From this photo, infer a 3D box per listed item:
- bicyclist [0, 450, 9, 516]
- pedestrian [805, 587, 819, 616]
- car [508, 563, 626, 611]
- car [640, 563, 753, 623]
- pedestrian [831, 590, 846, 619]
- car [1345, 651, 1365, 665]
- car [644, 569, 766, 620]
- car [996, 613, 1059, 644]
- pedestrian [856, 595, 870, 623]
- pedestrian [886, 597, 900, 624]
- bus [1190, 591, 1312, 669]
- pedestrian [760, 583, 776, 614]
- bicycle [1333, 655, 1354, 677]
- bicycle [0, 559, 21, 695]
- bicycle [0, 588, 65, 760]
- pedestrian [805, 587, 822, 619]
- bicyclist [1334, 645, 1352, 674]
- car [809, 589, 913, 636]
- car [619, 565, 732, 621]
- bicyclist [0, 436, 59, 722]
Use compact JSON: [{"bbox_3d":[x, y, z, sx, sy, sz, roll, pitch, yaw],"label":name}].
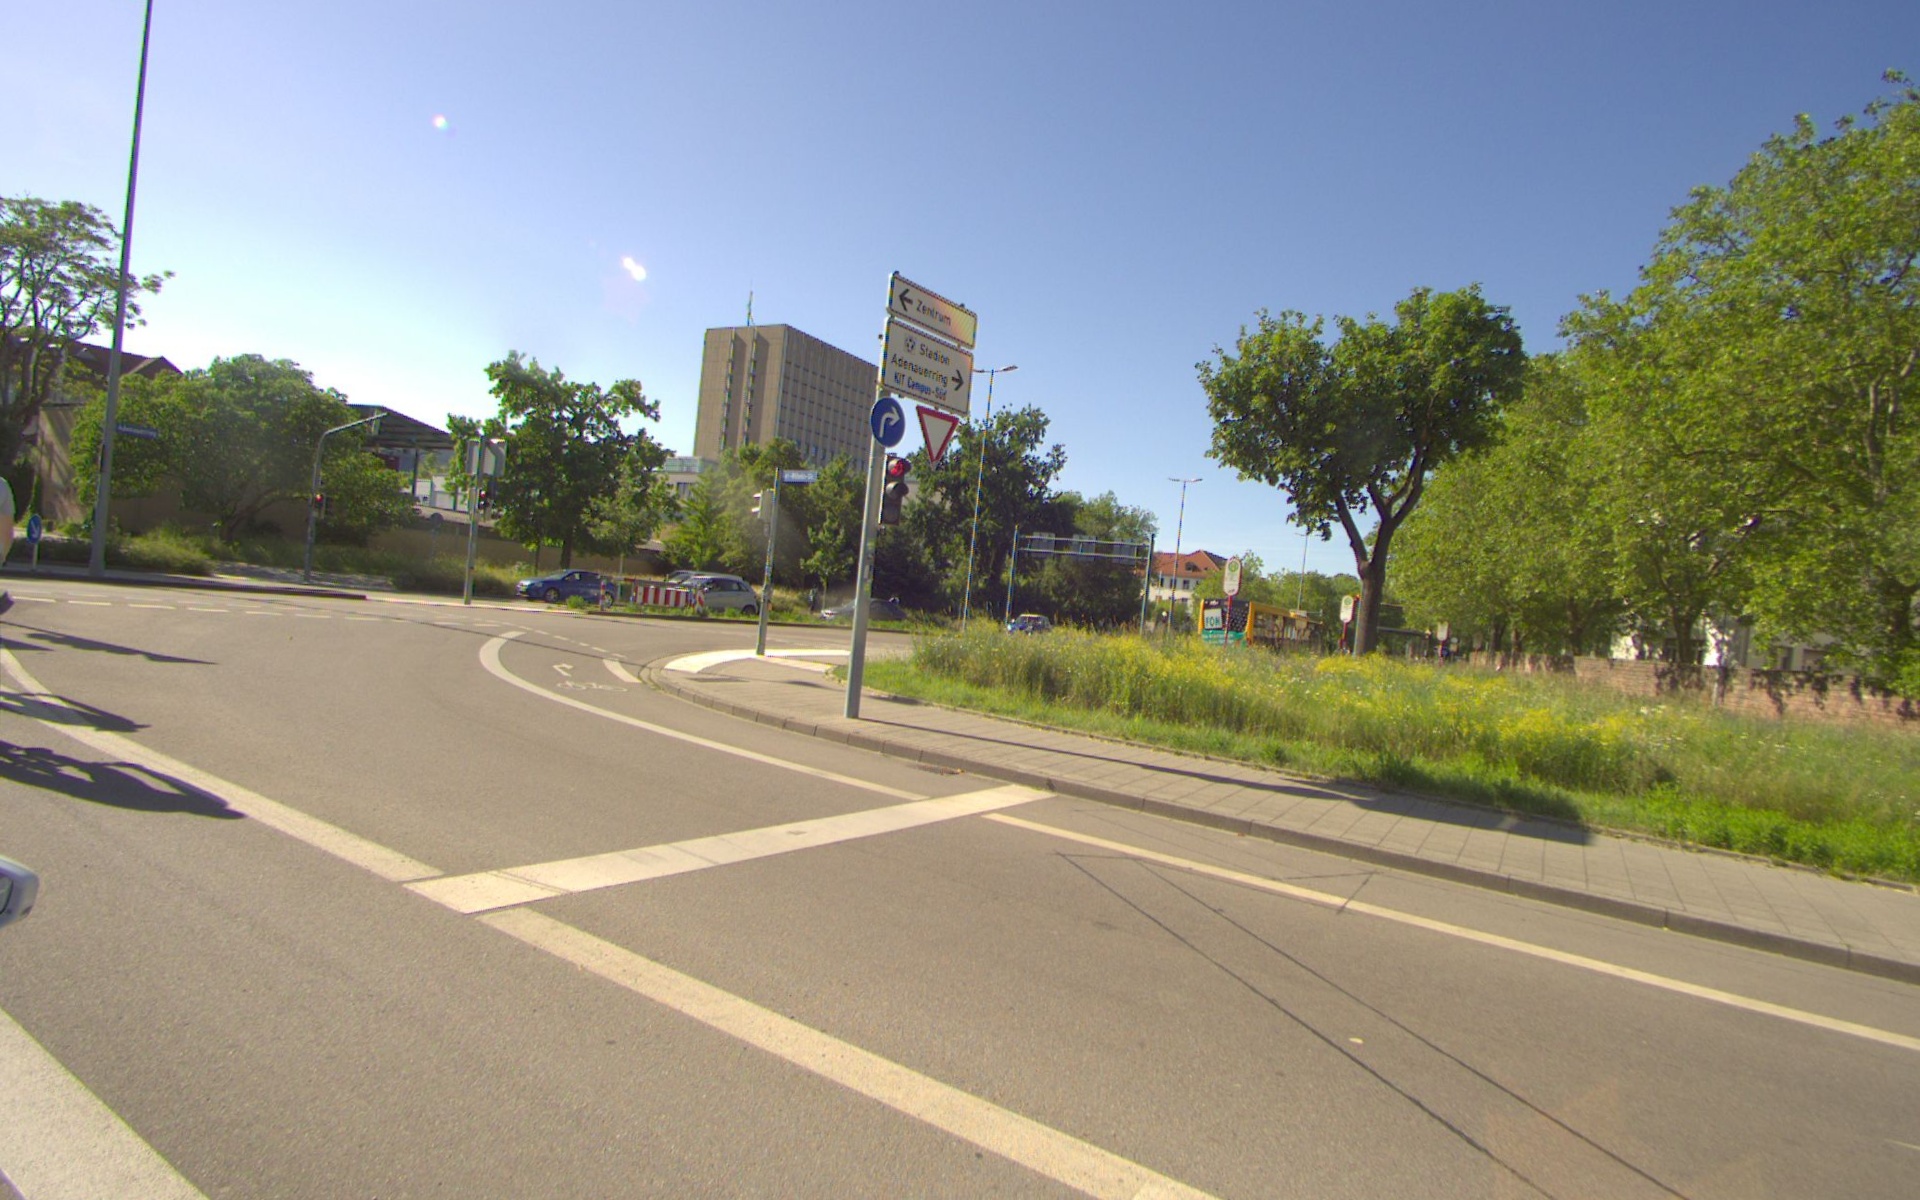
[{"bbox_3d":[-8.134,-0.371,7.782,1.048,1.759,0.647,7,-1,26],"label":"bicyclist"},{"bbox_3d":[-9.475,0.086,64.432,0.519,1.801,0.561,7,1,35],"label":"pedestrian"},{"bbox_3d":[-16.089,-0.512,41.341,1.717,1.453,4.162,7,0,38],"label":"car"},{"bbox_3d":[-12.308,-0.272,47.332,1.968,2.131,4.885,6,-2,34],"label":"car"},{"bbox_3d":[-7.850,0.296,65.003,0.519,1.801,0.561,7,1,35],"label":"pedestrian"},{"bbox_3d":[48.538,7.147,123.581,1.812,1.405,4.066,4,-2,27],"label":"car"},{"bbox_3d":[-9.430,-0.190,37.432,1.840,1.426,4.046,6,0,38],"label":"car"},{"bbox_3d":[3.883,1.645,57.325,1.757,1.448,3.990,6,0,32],"label":"car"},{"bbox_3d":[-6.606,0.612,68.534,0.519,1.801,0.561,7,1,35],"label":"pedestrian"},{"bbox_3d":[-4.668,0.735,69.943,0.519,1.801,0.561,7,1,35],"label":"pedestrian"},{"bbox_3d":[14.234,1.574,48.456,2.751,2.662,10.098,6,-2,32],"label":"bus"},{"bbox_3d":[-11.520,-0.106,60.405,0.519,1.801,0.561,7,1,35],"label":"pedestrian"},{"bbox_3d":[19.131,3.311,50.186,0.509,1.007,2.056,7,0,32],"label":"bicycle"},{"bbox_3d":[-8.200,0.090,7.776,1.935,1.014,0.661,6,-1,26],"label":"bicycle"},{"bbox_3d":[-6.292,0.354,6.092,1.946,0.906,0.741,6,-2,33],"label":"bicycle"},{"bbox_3d":[-9.036,0.185,62.001,0.702,1.872,0.561,7,1,35],"label":"pedestrian"},{"bbox_3d":[19.048,2.949,50.025,0.509,1.368,1.002,7,1,32],"label":"bicyclist"},{"bbox_3d":[-4.305,0.581,44.711,1.968,1.604,4.736,6,0,33],"label":"car"},{"bbox_3d":[-11.802,-0.274,41.902,1.972,1.837,3.982,7,0,40],"label":"car"},{"bbox_3d":[-6.222,-0.180,6.092,1.000,1.688,0.752,6,-1,33],"label":"bicyclist"}]
